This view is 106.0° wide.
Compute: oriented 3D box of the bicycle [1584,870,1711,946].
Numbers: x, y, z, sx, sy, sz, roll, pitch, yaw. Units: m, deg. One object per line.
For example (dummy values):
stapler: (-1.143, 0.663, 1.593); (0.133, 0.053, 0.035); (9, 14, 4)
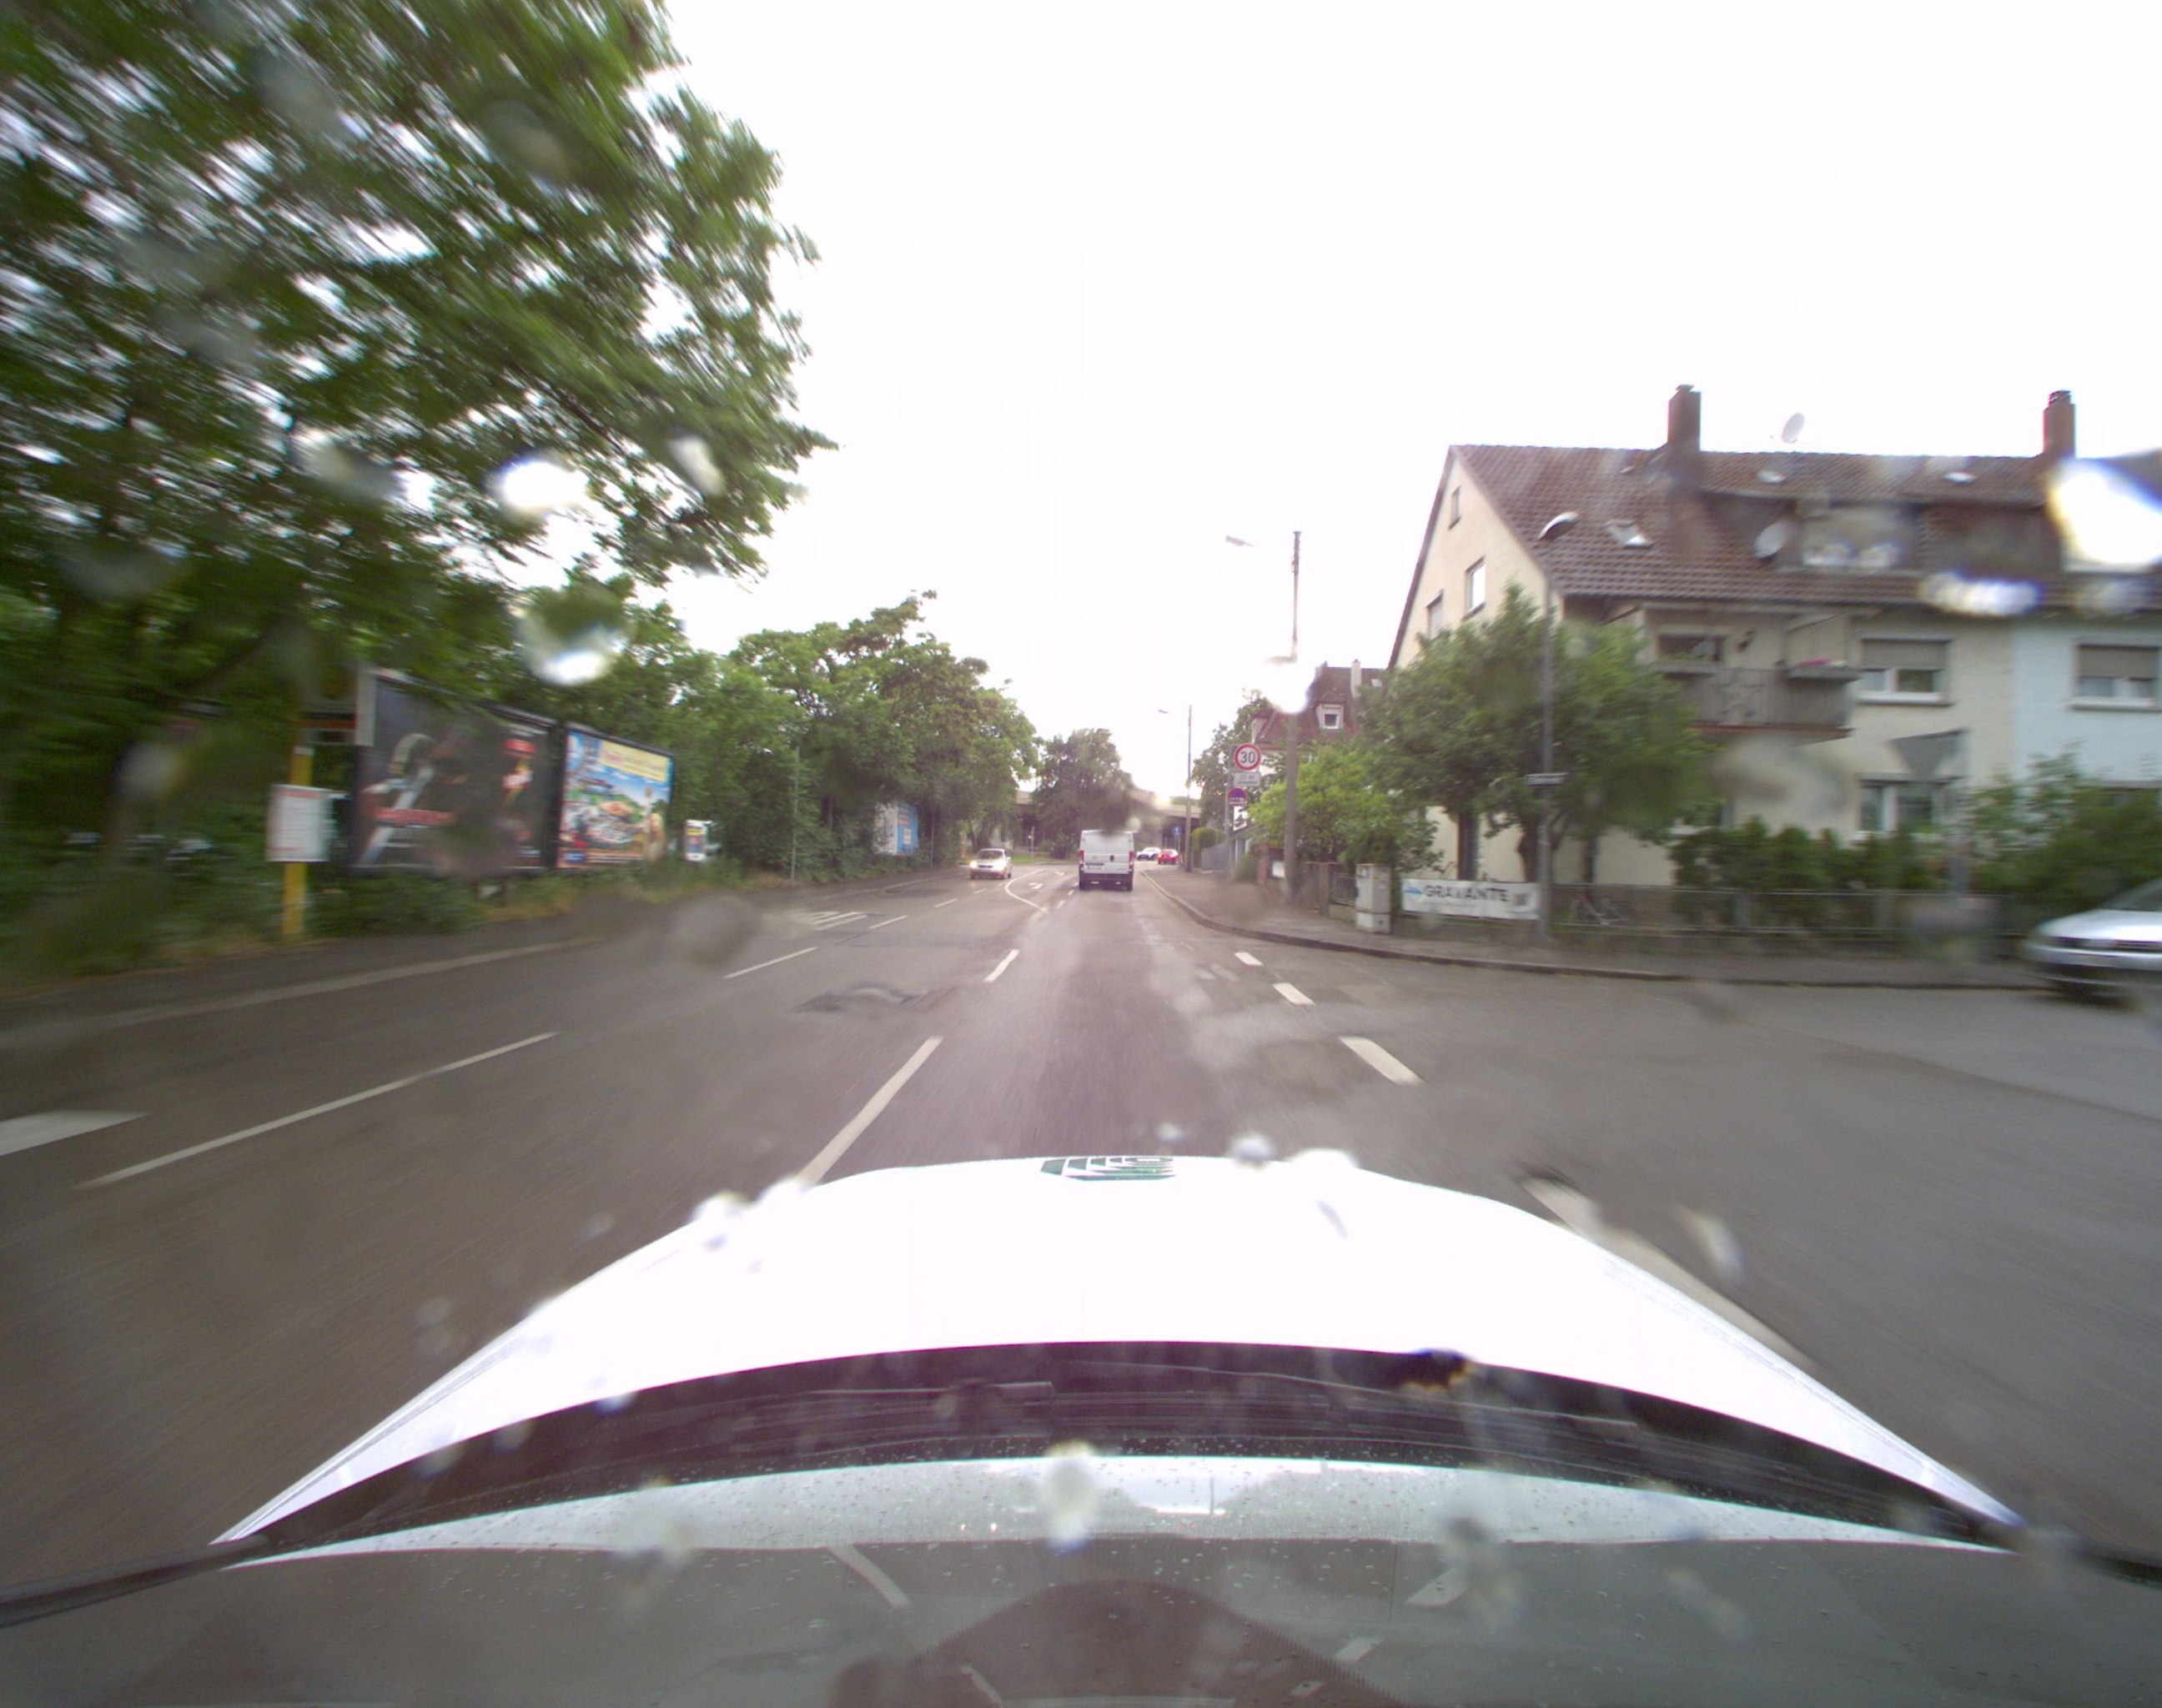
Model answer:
bicycle: (8.574, 0.808, 12.354); (1.563, 1.115, 0.458); (0, 0, 5)

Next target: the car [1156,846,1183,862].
car: (8.805, 0.016, 80.810); (1.751, 1.510, 3.774); (2, 1, 21)

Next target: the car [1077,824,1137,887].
car: (0.940, 0.033, 32.143); (2.140, 2.283, 5.061); (0, 0, -1)

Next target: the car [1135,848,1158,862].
car: (7.443, 0.148, 92.641); (1.980, 1.456, 4.845); (1, -1, 12)

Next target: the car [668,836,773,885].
car: (-12.383, 0.202, 28.269); (1.696, 1.494, 4.001); (3, 0, 1)

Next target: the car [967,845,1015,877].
car: (-4.357, 0.305, 39.878); (1.647, 1.417, 3.940); (-1, 1, 4)

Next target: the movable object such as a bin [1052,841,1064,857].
movable object such as a bin: (-2.342, -0.503, 83.334); (0.935, 1.563, 1.132); (7, 1, 6)

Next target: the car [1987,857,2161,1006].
car: (12.313, 0.752, 8.452); (3.975, 1.423, 1.703); (0, -1, -1)

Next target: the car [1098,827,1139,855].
car: (4.402, -1.438, 94.972); (2.513, 3.018, 7.248); (2, 1, 21)

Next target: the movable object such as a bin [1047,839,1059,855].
movable object such as a bin: (-2.937, -0.758, 84.750); (0.935, 1.563, 1.132); (7, 1, 6)
